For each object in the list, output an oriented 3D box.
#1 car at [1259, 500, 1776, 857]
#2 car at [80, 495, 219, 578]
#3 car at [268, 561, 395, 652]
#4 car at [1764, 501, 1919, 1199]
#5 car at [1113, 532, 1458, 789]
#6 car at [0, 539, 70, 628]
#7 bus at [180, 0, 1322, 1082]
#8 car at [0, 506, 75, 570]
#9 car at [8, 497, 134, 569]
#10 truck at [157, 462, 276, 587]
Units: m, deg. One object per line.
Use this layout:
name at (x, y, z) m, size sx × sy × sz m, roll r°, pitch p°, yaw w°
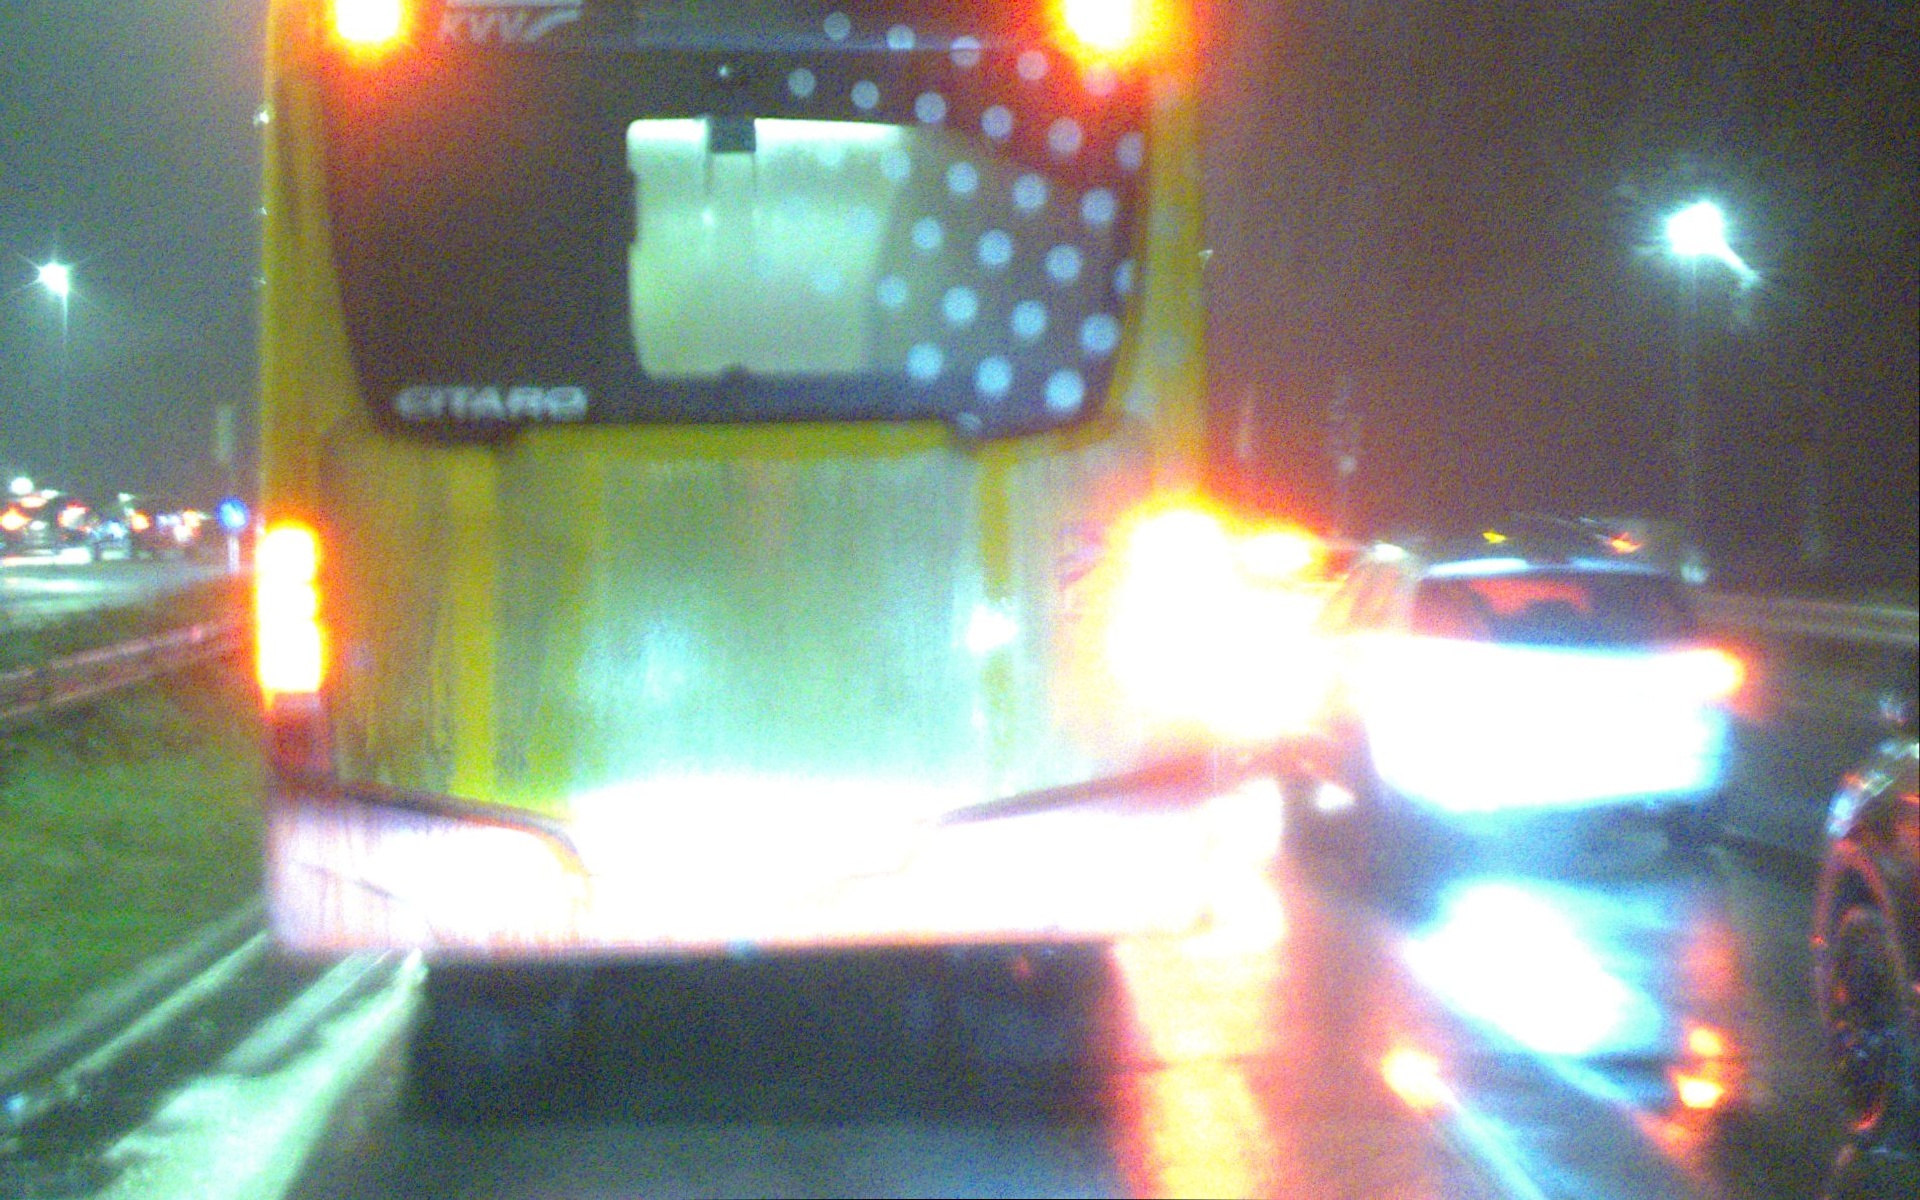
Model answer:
car at (2.641, 0.317, 17.142) m, size 1.819 × 1.585 × 3.777 m, roll 0°, pitch 1°, yaw -2°
car at (-20.012, -1.571, 84.750) m, size 1.994 × 2.007 × 4.000 m, roll 0°, pitch 1°, yaw -35°
car at (-10.687, 0.088, 58.685) m, size 1.993 × 1.481 × 4.001 m, roll 0°, pitch 1°, yaw -8°
car at (3.017, 0.599, 6.904) m, size 1.739 × 1.559 × 3.777 m, roll 2°, pitch 1°, yaw -2°
car at (2.095, 0.342, 23.120) m, size 1.819 × 1.585 × 3.777 m, roll 0°, pitch 1°, yaw -2°
car at (-21.808, -0.395, 79.450) m, size 1.993 × 2.007 × 4.001 m, roll 0°, pitch 1°, yaw -21°
bus at (-0.589, -0.391, 13.012) m, size 2.815 × 3.013 × 8.688 m, roll 1°, pitch 1°, yaw -1°
car at (-25.142, -1.658, 91.278) m, size 1.751 × 1.625 × 3.622 m, roll 2°, pitch 0°, yaw -39°
car at (-25.374, -1.915, 98.011) m, size 1.994 × 2.007 × 3.999 m, roll 0°, pitch 1°, yaw -39°
truck at (-15.591, -1.624, 71.950) m, size 1.855 × 2.384 × 4.781 m, roll -1°, pitch 4°, yaw -19°
